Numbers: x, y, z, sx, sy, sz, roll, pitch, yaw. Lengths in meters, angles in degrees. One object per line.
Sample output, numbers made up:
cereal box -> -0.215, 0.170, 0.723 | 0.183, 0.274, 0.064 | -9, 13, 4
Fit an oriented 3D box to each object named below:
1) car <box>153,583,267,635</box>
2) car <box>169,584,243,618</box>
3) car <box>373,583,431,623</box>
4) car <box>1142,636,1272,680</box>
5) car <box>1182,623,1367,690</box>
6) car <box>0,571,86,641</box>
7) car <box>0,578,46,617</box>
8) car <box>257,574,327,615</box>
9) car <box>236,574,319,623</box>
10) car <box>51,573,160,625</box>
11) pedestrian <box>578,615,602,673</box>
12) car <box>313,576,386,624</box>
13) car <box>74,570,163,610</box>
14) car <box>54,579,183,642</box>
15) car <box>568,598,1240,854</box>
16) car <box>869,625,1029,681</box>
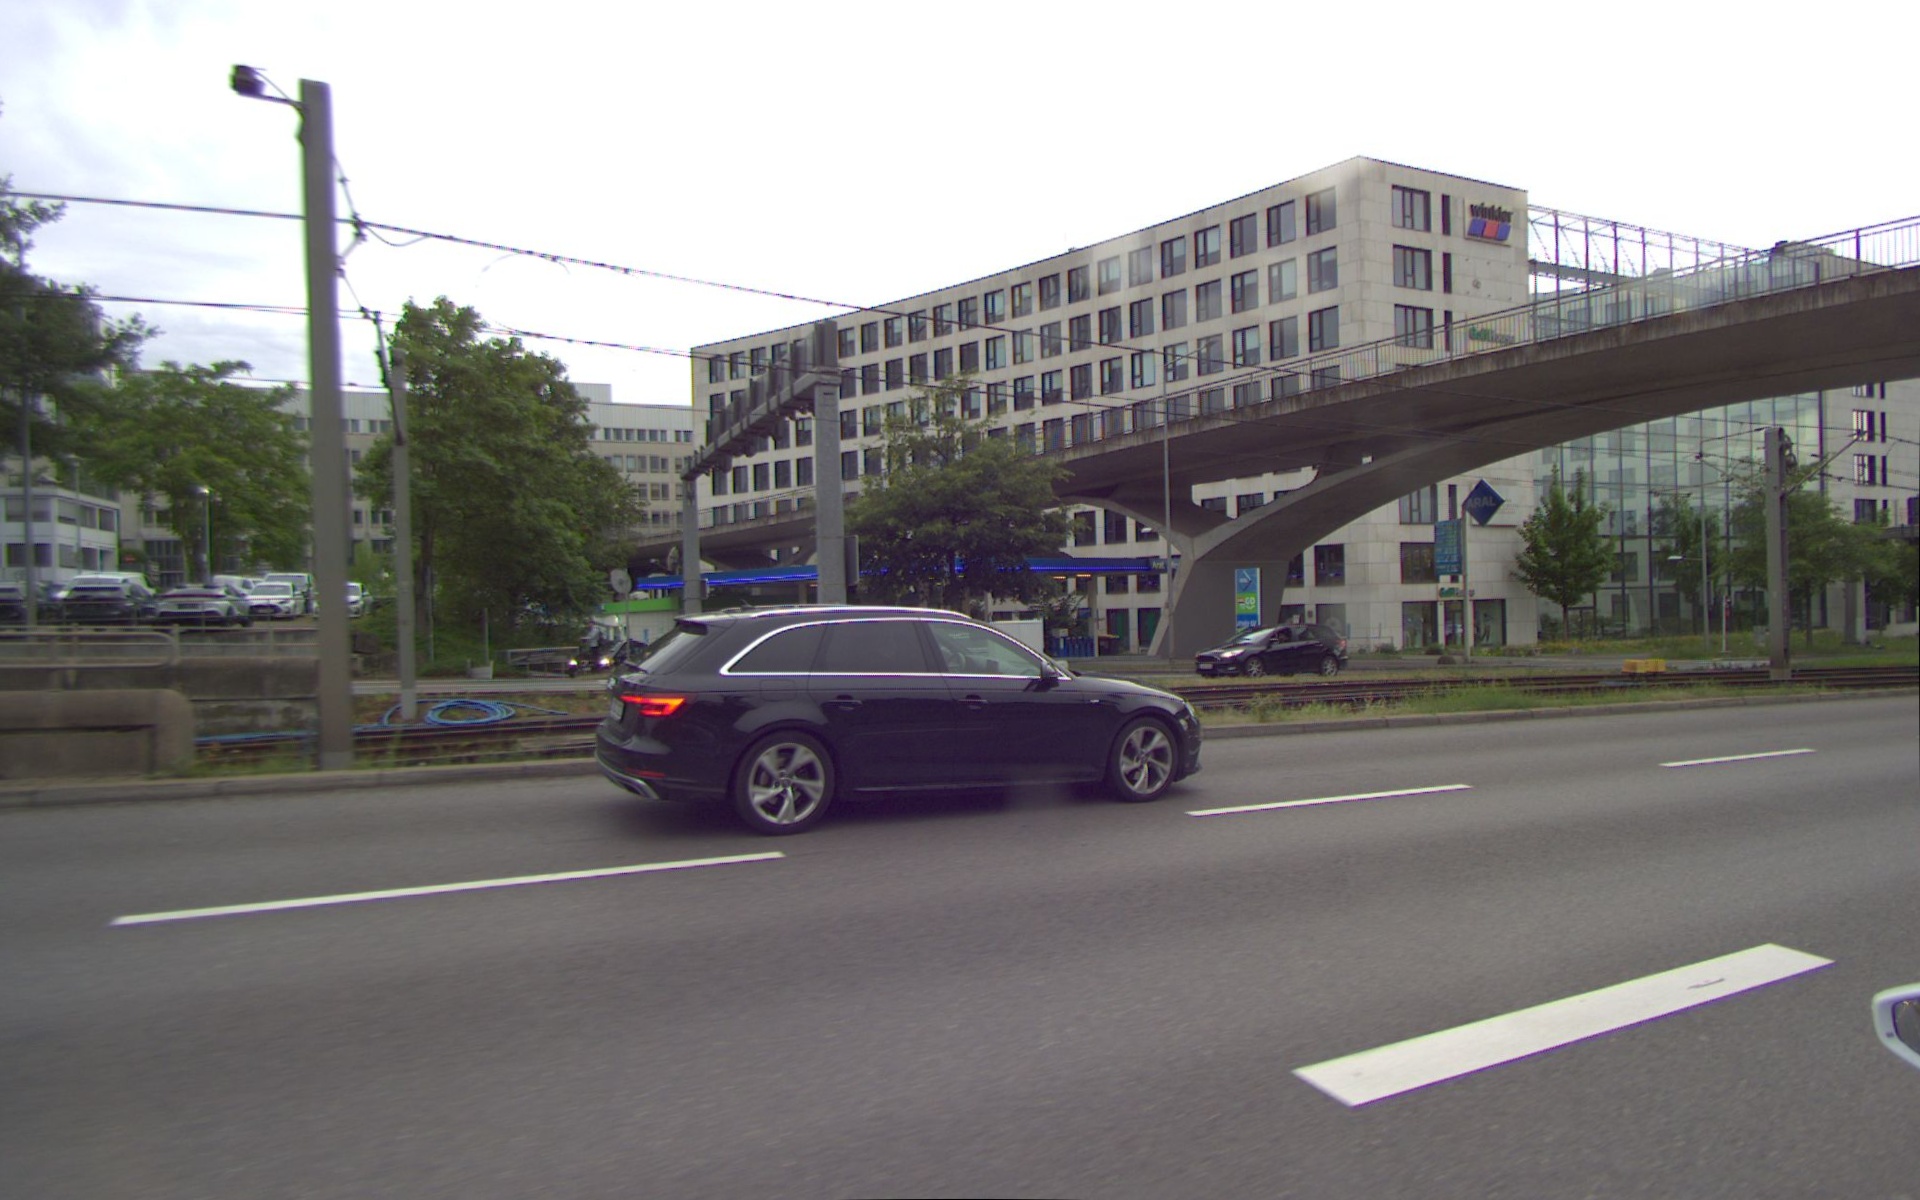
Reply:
car -> -24.169, 0.255, 32.555 | 1.858, 1.523, 4.344 | 2, 0, -22
car -> -33.434, 0.025, 44.663 | 1.635, 1.391, 3.965 | 2, 0, -22
car -> -26.624, 0.112, 48.053 | 1.817, 1.794, 4.344 | 2, 0, -22
car -> 8.303, 1.946, 33.839 | 3.915, 1.305, 1.788 | 2, 0, -18
car -> 8.427, 1.447, 26.887 | 4.699, 1.559, 2.039 | 0, 1, -28
car -> -28.499, 0.125, 30.297 | 1.858, 1.973, 4.344 | 2, 0, -22
car -> -47.522, -0.175, 49.794 | 1.858, 1.838, 4.344 | 2, 0, -22
car -> -31.270, -0.267, 47.170 | 1.858, 1.794, 4.344 | 2, 0, -22
car -> -27.820, -0.064, 41.087 | 1.858, 1.838, 4.344 | 2, 0, -22
car -> -32.761, -0.038, 38.645 | 1.858, 1.838, 4.344 | 2, 0, -22
pedestrian -> -11.832, 1.394, 32.079 | 0.628, 1.820, 0.684 | 2, 0, -25
car -> -25.541, -0.020, 42.162 | 1.858, 1.838, 4.344 | 2, 0, -22
car -> -36.240, -0.419, 43.355 | 1.776, 1.614, 3.900 | 2, 0, -22
car -> -26.162, 0.293, 31.409 | 1.858, 1.795, 4.178 | 2, 0, -22
car -> -0.325, 0.764, 7.555 | 4.744, 1.432, 1.779 | 1, 0, -27
car -> -0.364, 1.580, 30.760 | 4.497, 1.549, 2.045 | 0, 1, -20
